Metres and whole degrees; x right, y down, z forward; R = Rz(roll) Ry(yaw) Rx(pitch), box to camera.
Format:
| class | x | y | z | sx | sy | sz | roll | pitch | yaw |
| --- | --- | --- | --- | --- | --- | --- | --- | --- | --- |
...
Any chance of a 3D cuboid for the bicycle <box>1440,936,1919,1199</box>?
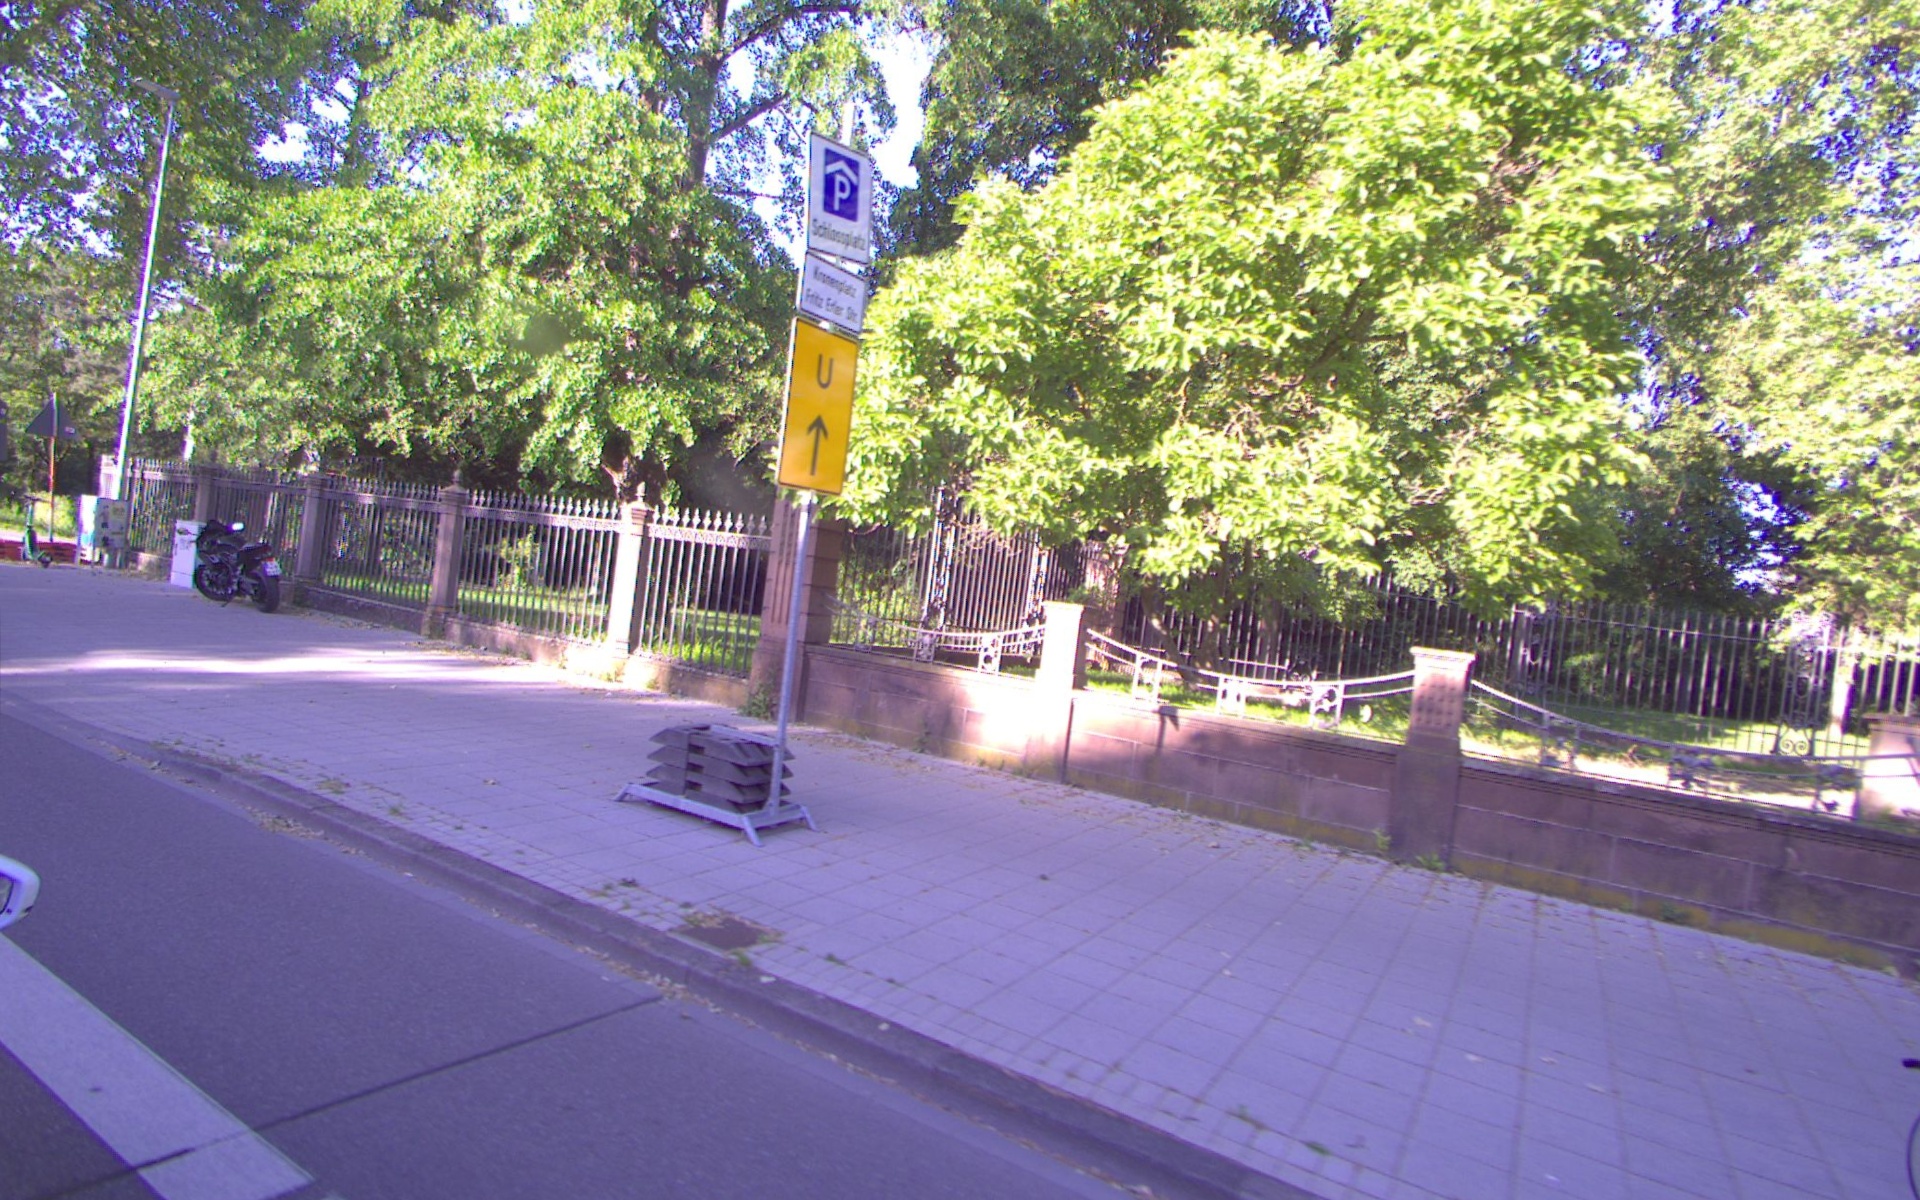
| class | x | y | z | sx | sy | sz | roll | pitch | yaw |
| --- | --- | --- | --- | --- | --- | --- | --- | --- | --- |
| bicycle | 1.650 | 1.235 | 1.130 | 2.046 | 1.021 | 0.670 | 7 | -1 | 31 |

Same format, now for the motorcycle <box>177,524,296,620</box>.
| class | x | y | z | sx | sy | sz | roll | pitch | yaw |
| --- | --- | --- | --- | --- | --- | --- | --- | --- | --- |
| motorcycle | -10.251 | -0.415 | 14.229 | 2.134 | 1.146 | 0.506 | 7 | 2 | 31 |

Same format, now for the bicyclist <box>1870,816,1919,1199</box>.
| class | x | y | z | sx | sy | sz | roll | pitch | yaw |
| --- | --- | --- | --- | --- | --- | --- | --- | --- | --- |
| bicyclist | 1.650 | 0.760 | 1.171 | 0.709 | 1.620 | 0.667 | 8 | -1 | 31 |

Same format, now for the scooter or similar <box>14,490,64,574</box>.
| class | x | y | z | sx | sy | sz | roll | pitch | yaw |
| --- | --- | --- | --- | --- | --- | --- | --- | --- | --- |
| scooter or similar | -15.911 | -1.188 | 17.366 | 1.152 | 1.344 | 0.228 | 8 | 1 | 31 |
